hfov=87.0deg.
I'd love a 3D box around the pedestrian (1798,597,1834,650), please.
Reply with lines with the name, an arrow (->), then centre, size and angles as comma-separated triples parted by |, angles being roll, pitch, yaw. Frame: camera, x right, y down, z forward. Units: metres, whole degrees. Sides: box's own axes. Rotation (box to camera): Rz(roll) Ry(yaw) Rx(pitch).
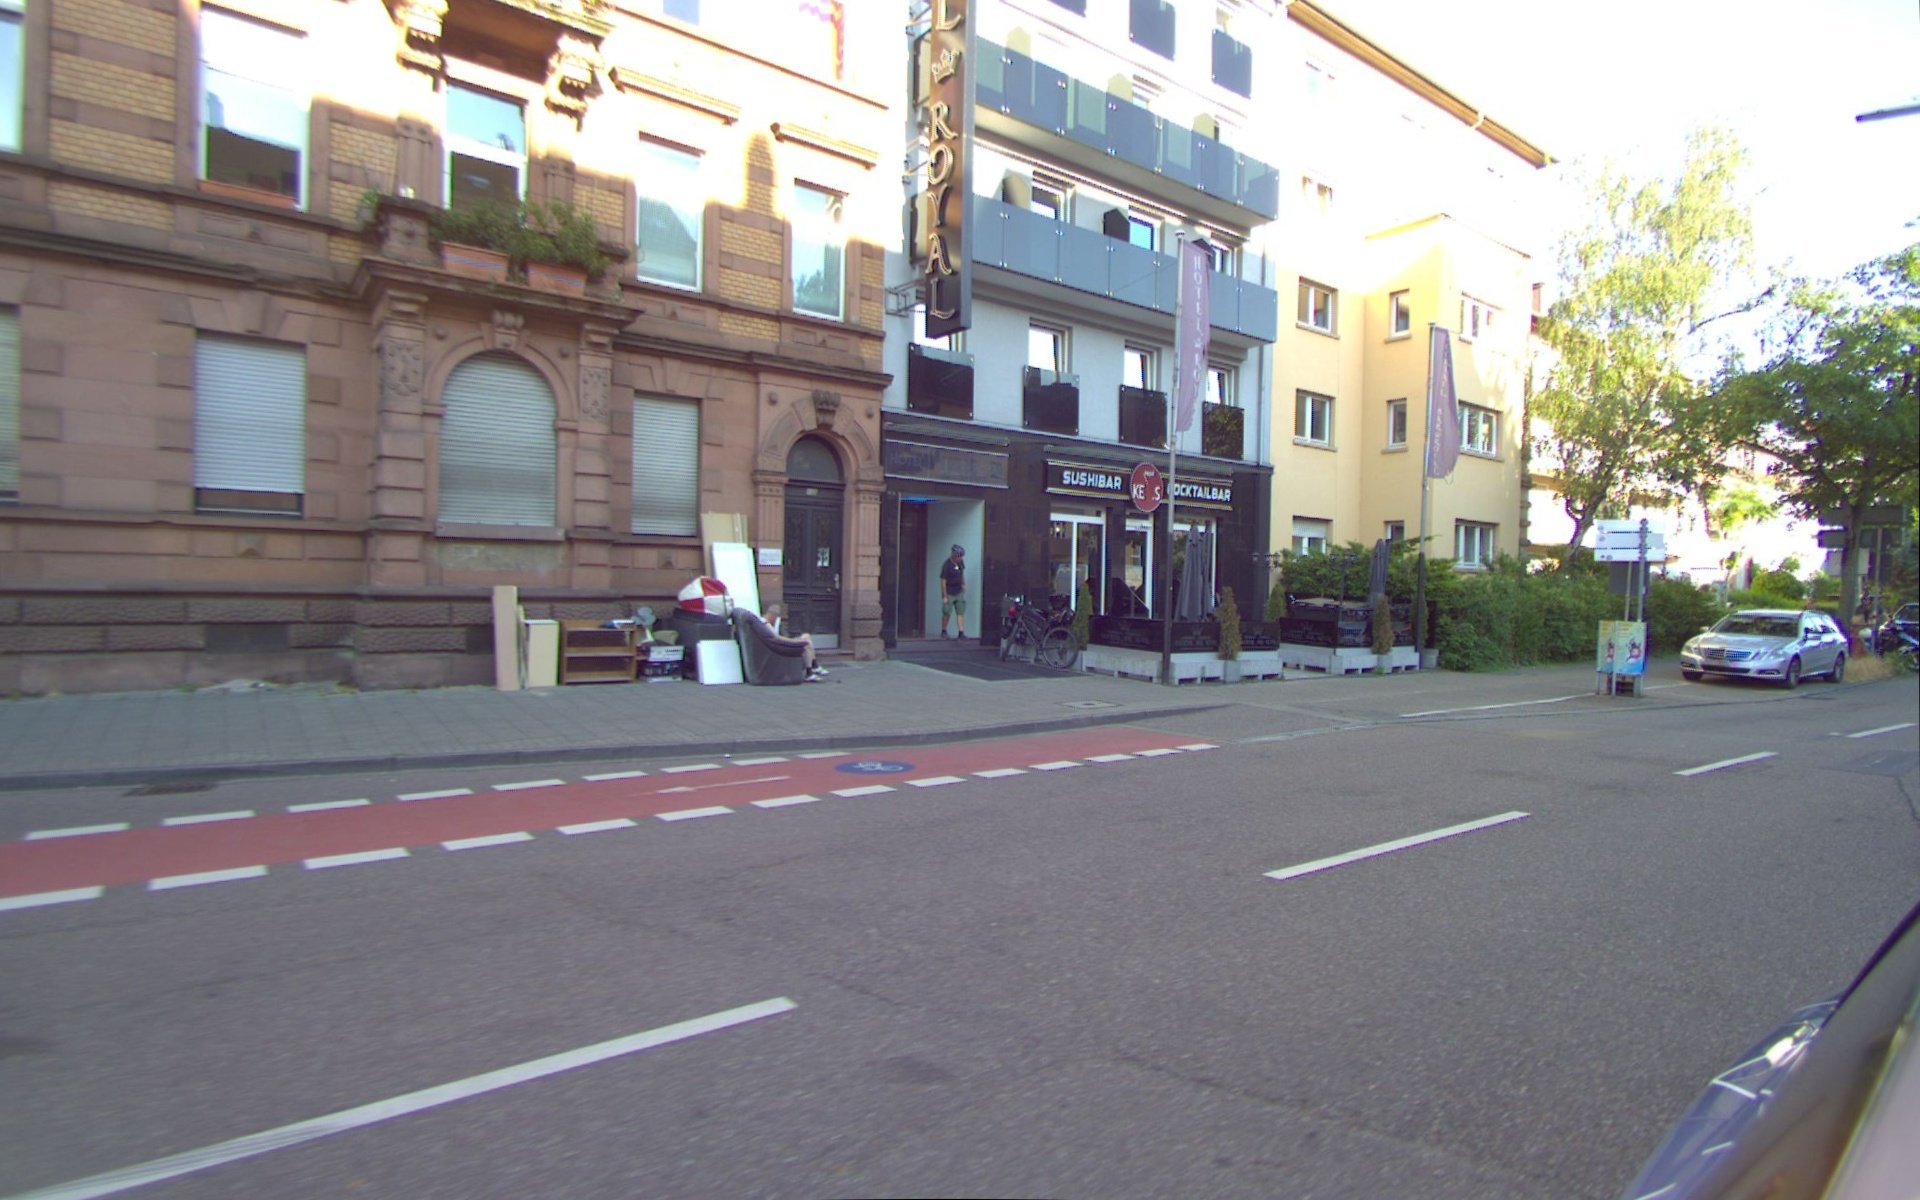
pedestrian -> 27.374, 0.740, 32.350 | 0.569, 1.636, 0.748 | 1, 1, -39

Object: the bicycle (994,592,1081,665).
bicycle -> 1.342, 0.477, 17.682 | 1.418, 1.124, 0.482 | 5, 3, 36

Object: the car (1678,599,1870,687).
car -> 16.961, 0.821, 21.015 | 4.743, 1.531, 1.862 | 1, 2, -36

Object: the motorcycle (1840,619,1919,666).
motorcycle -> 23.091, 1.049, 25.065 | 1.924, 1.084, 0.808 | 2, 1, 42

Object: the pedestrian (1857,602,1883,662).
pedestrian -> 22.676, 0.790, 25.219 | 0.438, 1.448, 0.694 | 1, 0, 41

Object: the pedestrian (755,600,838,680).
pedestrian -> -2.281, 0.536, 14.149 | 0.926, 1.056, 0.693 | 1, 1, -34

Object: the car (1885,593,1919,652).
car -> 29.497, 0.685, 30.270 | 4.708, 1.675, 1.953 | 0, 1, -38

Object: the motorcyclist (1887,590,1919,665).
motorcyclist -> 23.307, 0.661, 24.861 | 0.735, 1.800, 1.072 | 1, 0, 41

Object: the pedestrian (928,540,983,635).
pedestrian -> -0.080, -0.229, 18.338 | 0.680, 1.664, 0.709 | 1, 1, -37
